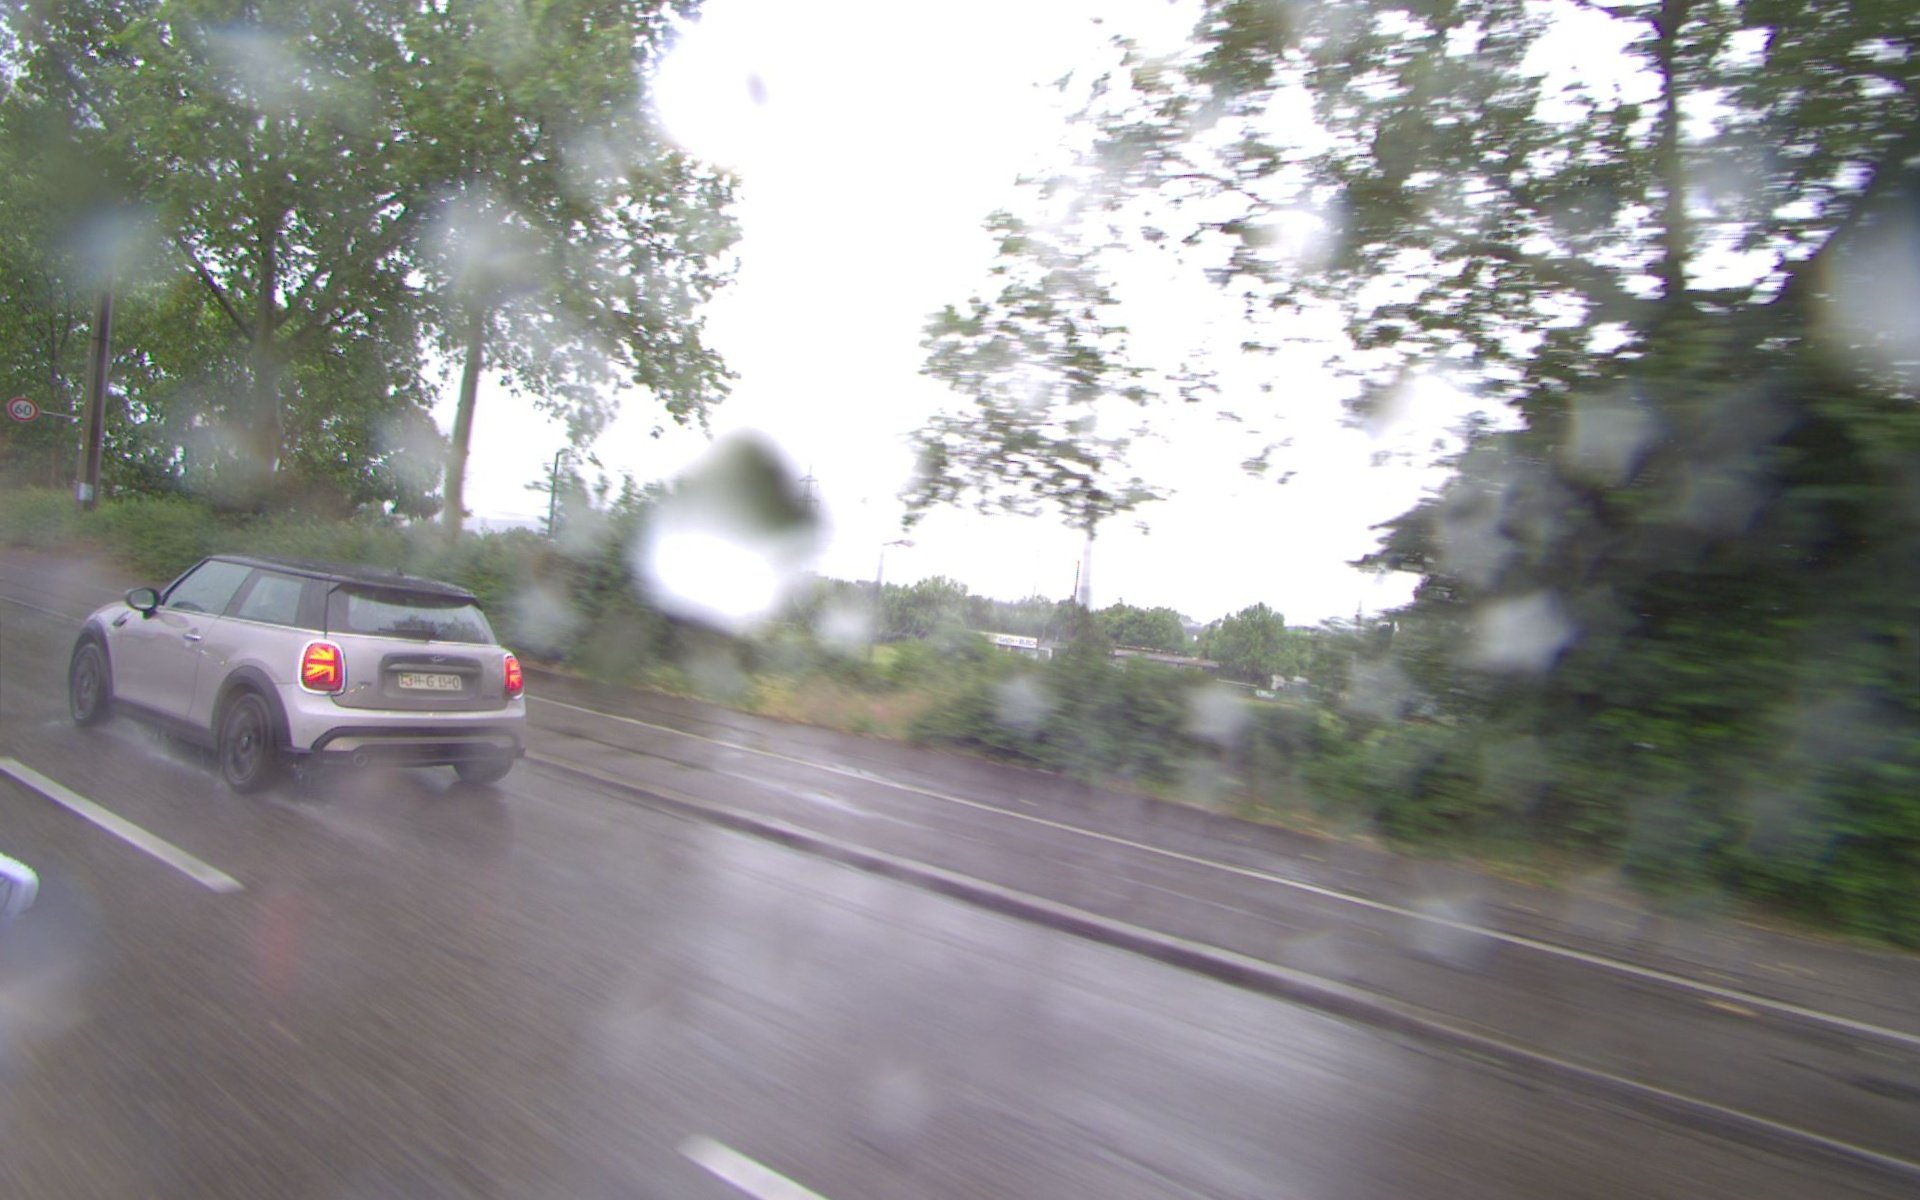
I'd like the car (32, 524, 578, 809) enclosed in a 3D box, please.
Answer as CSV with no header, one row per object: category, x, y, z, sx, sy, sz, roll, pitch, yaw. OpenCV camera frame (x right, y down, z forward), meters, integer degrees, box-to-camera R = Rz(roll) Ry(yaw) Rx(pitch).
car,-4.840,0.397,7.337,3.791,1.429,1.795,6,-4,32
